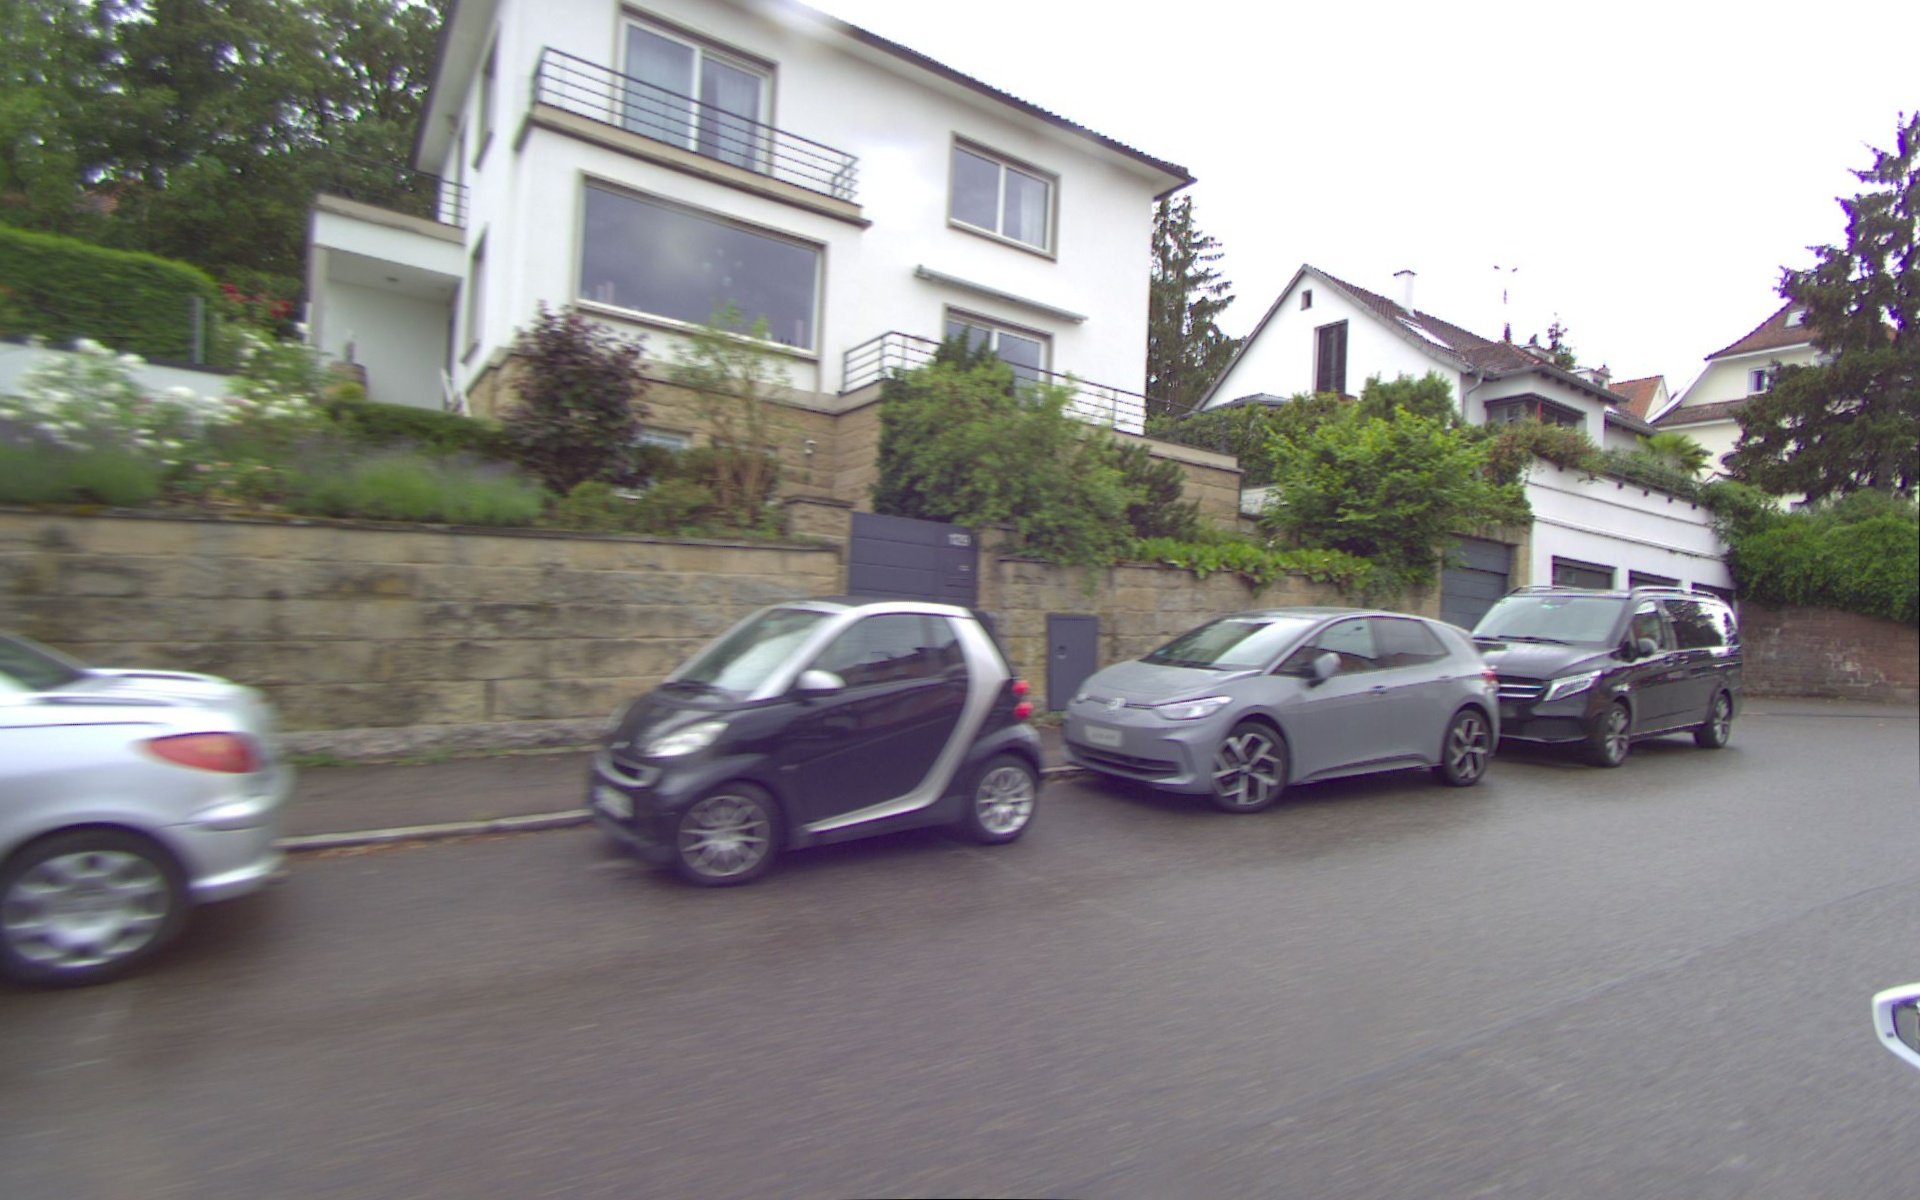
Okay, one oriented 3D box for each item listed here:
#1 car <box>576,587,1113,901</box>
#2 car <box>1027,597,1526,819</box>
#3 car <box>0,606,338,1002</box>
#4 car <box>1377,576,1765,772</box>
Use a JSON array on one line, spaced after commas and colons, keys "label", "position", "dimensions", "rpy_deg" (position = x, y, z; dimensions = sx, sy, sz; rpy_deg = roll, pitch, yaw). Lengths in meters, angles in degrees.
[{"label": "car", "position": [-0.651, 0.737, 6.492], "dimensions": [3.130, 1.544, 1.486], "rpy_deg": [1, 0, -37]}, {"label": "car", "position": [2.905, 0.803, 8.980], "dimensions": [4.293, 1.535, 1.888], "rpy_deg": [1, 0, -31]}, {"label": "car", "position": [-4.555, 0.710, 3.713], "dimensions": [3.800, 1.355, 1.600], "rpy_deg": [1, 0, -33]}, {"label": "car", "position": [7.567, 0.758, 12.179], "dimensions": [5.542, 1.885, 2.113], "rpy_deg": [2, 0, -37]}]
